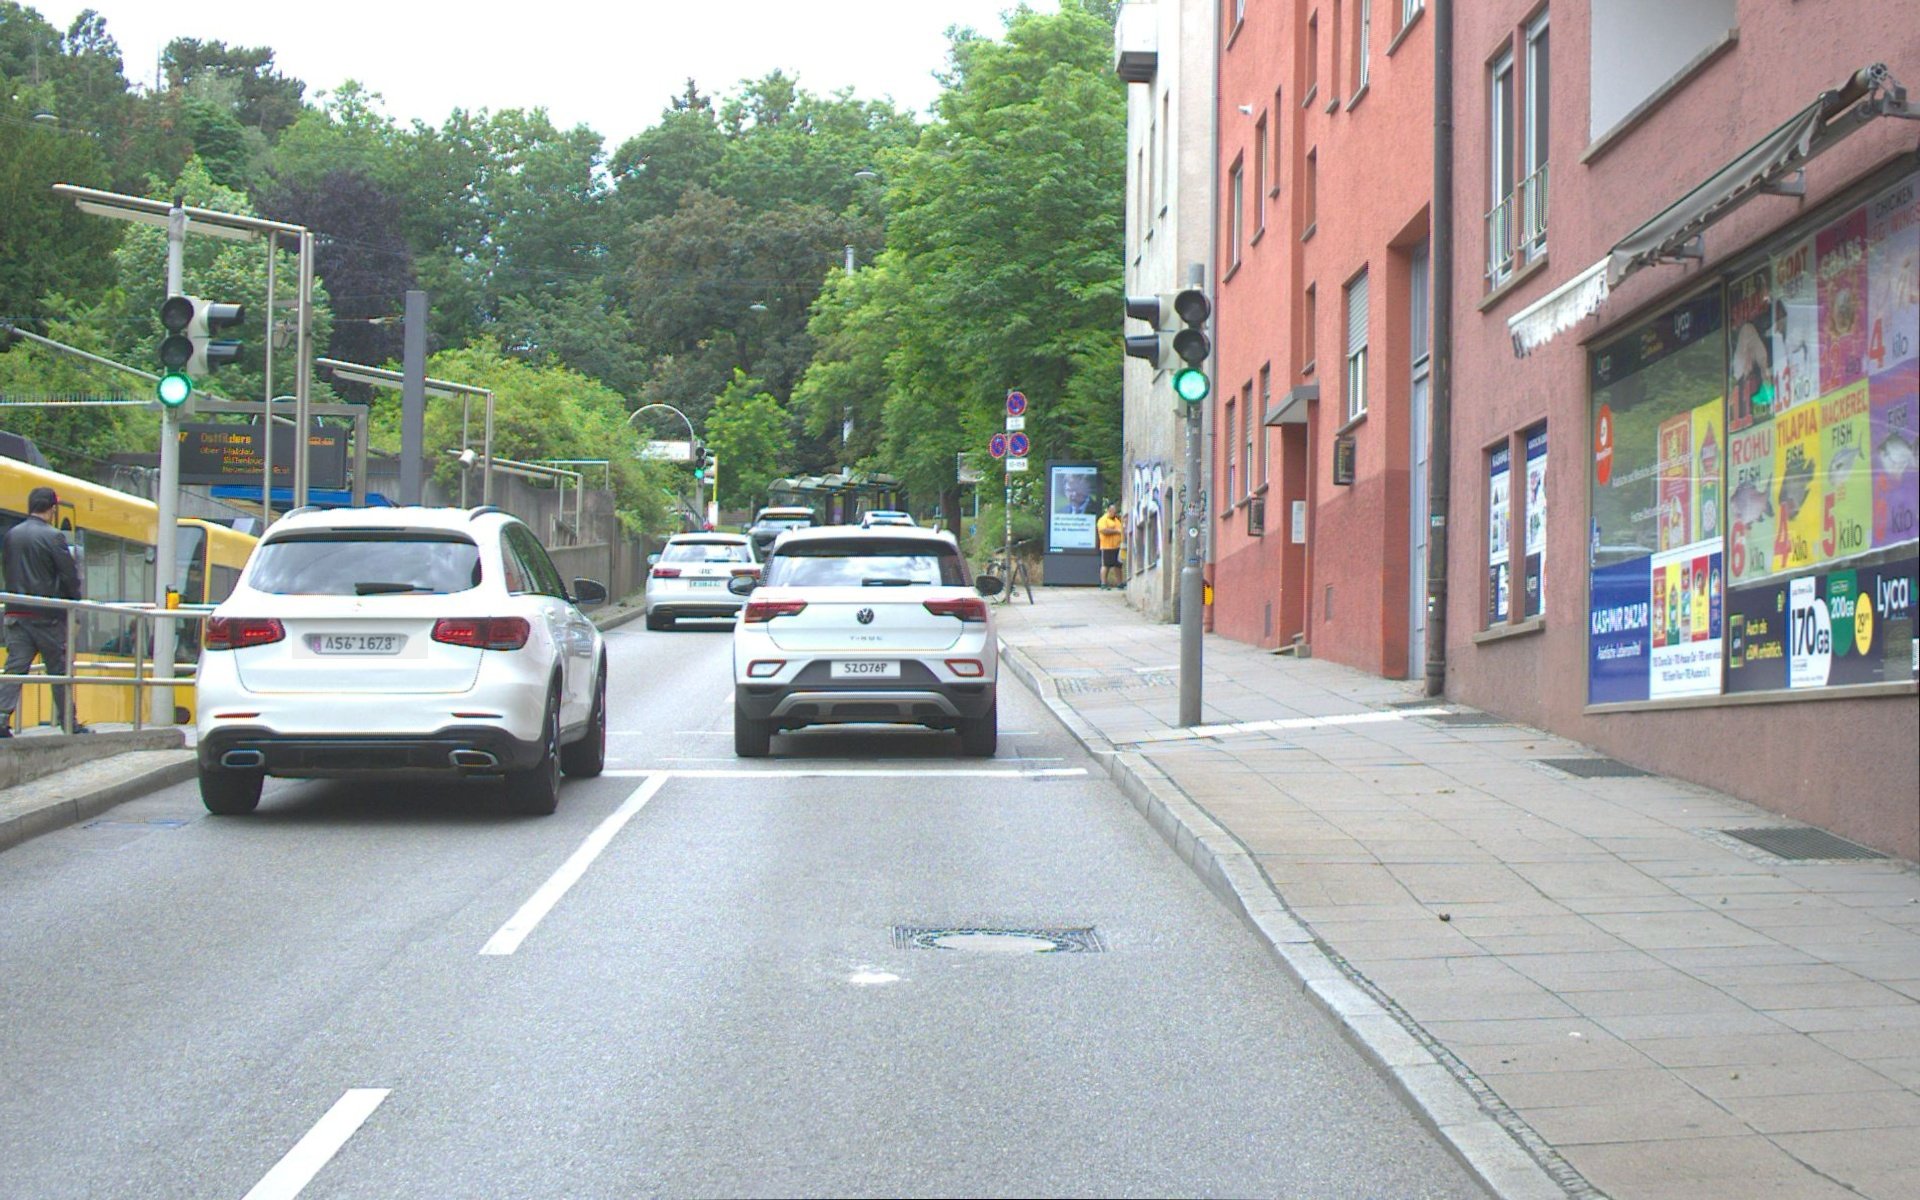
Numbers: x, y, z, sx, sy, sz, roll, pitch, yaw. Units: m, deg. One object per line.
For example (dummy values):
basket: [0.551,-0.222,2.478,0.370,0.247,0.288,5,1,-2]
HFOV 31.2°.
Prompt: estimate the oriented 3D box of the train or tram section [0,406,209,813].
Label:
train or tram section: [-9.700,0.113,31.774,2.949,3.472,12.218,1,-1,-1]

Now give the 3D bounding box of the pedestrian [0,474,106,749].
pedestrian: [-6.142,0.063,22.662,0.800,1.771,0.818,1,1,-1]

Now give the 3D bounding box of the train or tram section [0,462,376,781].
train or tram section: [-9.971,0.274,44.390,2.949,3.497,12.987,0,0,-1]

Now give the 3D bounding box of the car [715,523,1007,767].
car: [-0.626,0.249,24.111,1.865,1.550,3.895,-1,1,0]

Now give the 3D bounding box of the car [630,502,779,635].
car: [-3.833,-0.504,52.193,1.993,1.875,4.000,2,1,-1]

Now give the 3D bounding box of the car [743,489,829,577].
car: [-3.887,-1.513,77.197,1.749,1.875,4.000,2,1,-1]

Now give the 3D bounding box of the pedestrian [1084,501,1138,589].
pedestrian: [2.932,-1.073,66.964,0.832,1.706,0.822,-1,1,-14]

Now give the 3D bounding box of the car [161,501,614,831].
car: [-3.090,0.295,19.428,1.877,1.646,4.342,0,1,-1]

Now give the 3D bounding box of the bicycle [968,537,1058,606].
bicycle: [0.906,-0.510,59.853,0.638,1.139,2.066,-5,3,-26]

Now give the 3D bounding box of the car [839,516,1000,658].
car: [-0.495,-0.195,42.292,1.861,1.626,3.959,1,1,-1]
